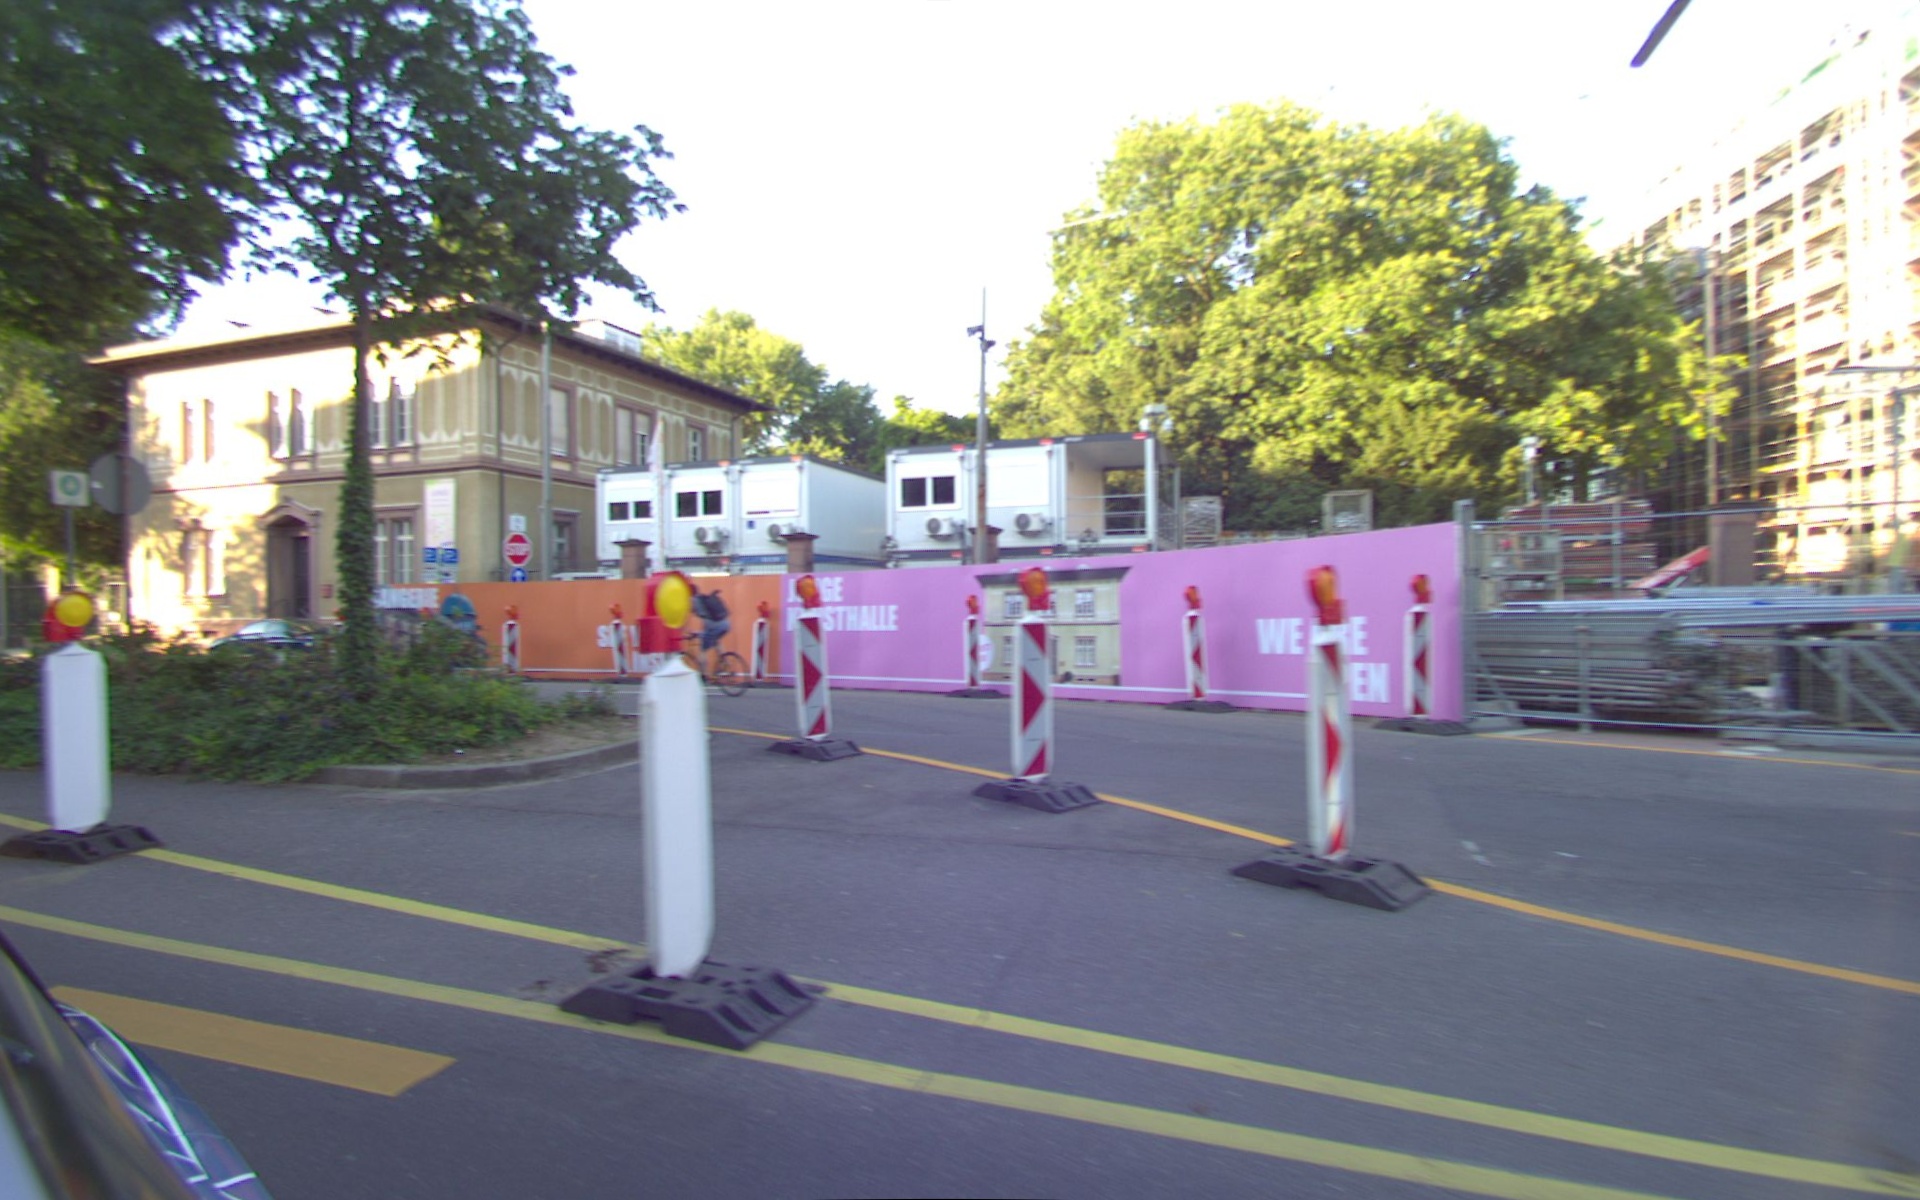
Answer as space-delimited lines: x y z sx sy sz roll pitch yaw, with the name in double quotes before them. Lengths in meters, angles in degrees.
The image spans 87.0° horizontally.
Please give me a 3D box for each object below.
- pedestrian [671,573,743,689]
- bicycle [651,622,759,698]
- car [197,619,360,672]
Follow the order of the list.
"pedestrian" -3.822 0.449 15.270 0.726 1.687 0.897 0 -1 -39
"bicycle" -3.907 0.871 15.363 0.751 1.045 2.124 0 -1 -40
"car" -18.411 1.227 27.348 3.856 1.361 1.674 -1 -2 19
